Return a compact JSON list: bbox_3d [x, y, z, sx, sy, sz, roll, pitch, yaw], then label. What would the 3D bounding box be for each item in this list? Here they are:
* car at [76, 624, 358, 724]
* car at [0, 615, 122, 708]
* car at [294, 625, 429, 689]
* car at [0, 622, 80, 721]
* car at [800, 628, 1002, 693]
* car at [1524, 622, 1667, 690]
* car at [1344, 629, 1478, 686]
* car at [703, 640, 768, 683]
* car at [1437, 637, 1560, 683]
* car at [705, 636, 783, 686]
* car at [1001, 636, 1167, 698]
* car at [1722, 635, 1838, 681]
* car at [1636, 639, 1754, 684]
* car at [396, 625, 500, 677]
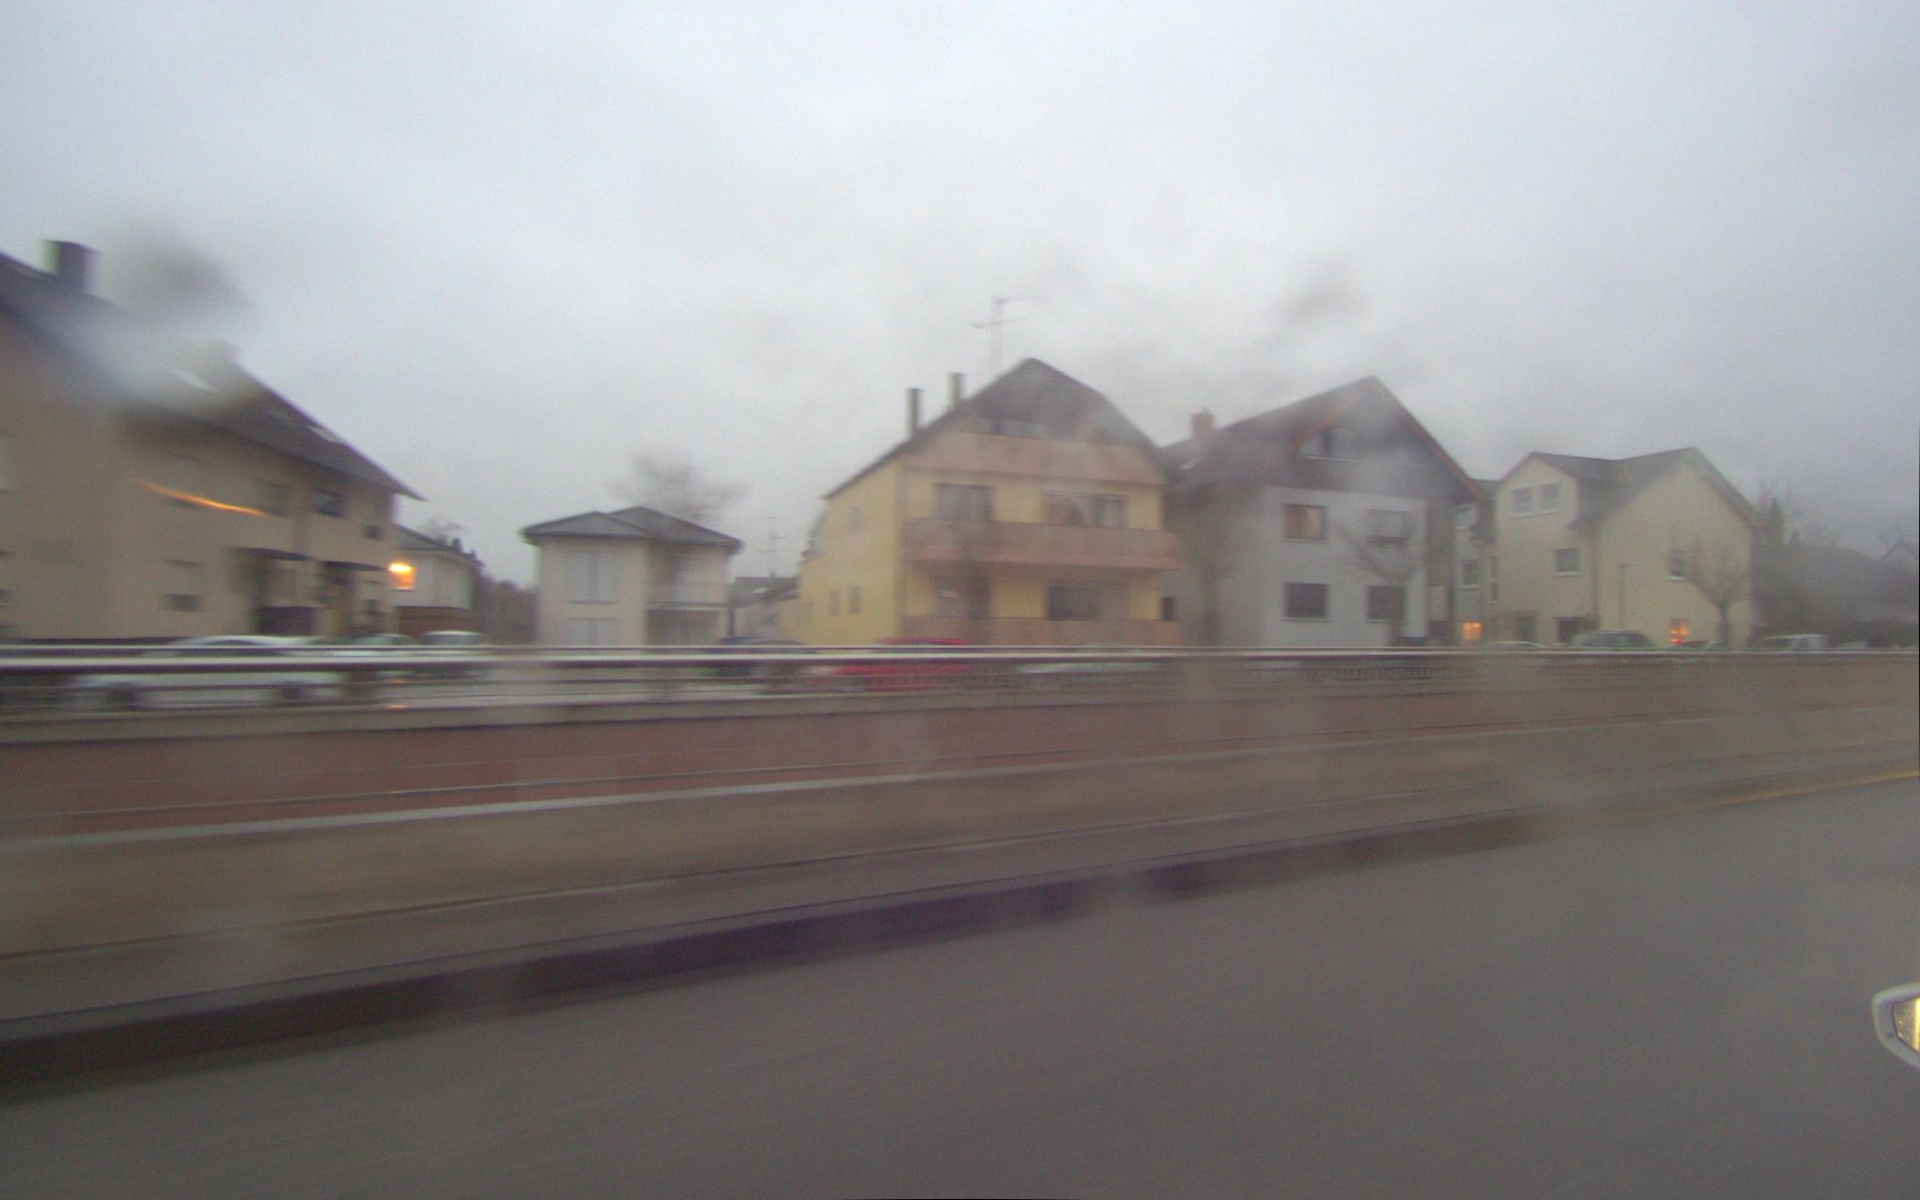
[{"bbox_3d":[-13.703,1.312,18.839,3.931,1.646,1.811,1,1,-25],"label":"car"},{"bbox_3d":[-18.671,1.134,19.018,3.949,1.669,1.804,1,0,-27],"label":"car"},{"bbox_3d":[-16.817,1.547,28.464,1.780,1.544,4.035,1,0,-7],"label":"car"},{"bbox_3d":[-17.553,1.149,16.716,3.946,1.538,1.891,2,0,-25],"label":"car"},{"bbox_3d":[-1.439,1.452,24.565,4.583,1.461,1.872,1,-1,-24],"label":"car"},{"bbox_3d":[18.010,1.580,28.469,3.813,1.827,1.792,2,-3,-28],"label":"car"},{"bbox_3d":[14.769,1.855,32.893,3.945,1.704,1.853,1,0,-25],"label":"car"},{"bbox_3d":[-8.748,2.361,38.976,1.970,1.463,3.982,1,-1,-20],"label":"car"},{"bbox_3d":[18.784,2.075,35.016,3.977,1.543,1.764,2,-3,-25],"label":"car"},{"bbox_3d":[-7.168,1.960,33.032,1.970,1.463,3.982,1,-1,-20],"label":"car"},{"bbox_3d":[3.354,1.771,27.167,4.087,1.525,1.871,1,-1,-25],"label":"car"},{"bbox_3d":[34.080,2.388,41.742,4.437,1.802,1.870,0,-3,-24],"label":"car"},{"bbox_3d":[28.988,2.414,39.641,4.165,1.619,1.870,0,-3,-24],"label":"car"},{"bbox_3d":[-17.522,1.698,34.575,1.963,1.565,3.994,1,0,-8],"label":"car"}]
